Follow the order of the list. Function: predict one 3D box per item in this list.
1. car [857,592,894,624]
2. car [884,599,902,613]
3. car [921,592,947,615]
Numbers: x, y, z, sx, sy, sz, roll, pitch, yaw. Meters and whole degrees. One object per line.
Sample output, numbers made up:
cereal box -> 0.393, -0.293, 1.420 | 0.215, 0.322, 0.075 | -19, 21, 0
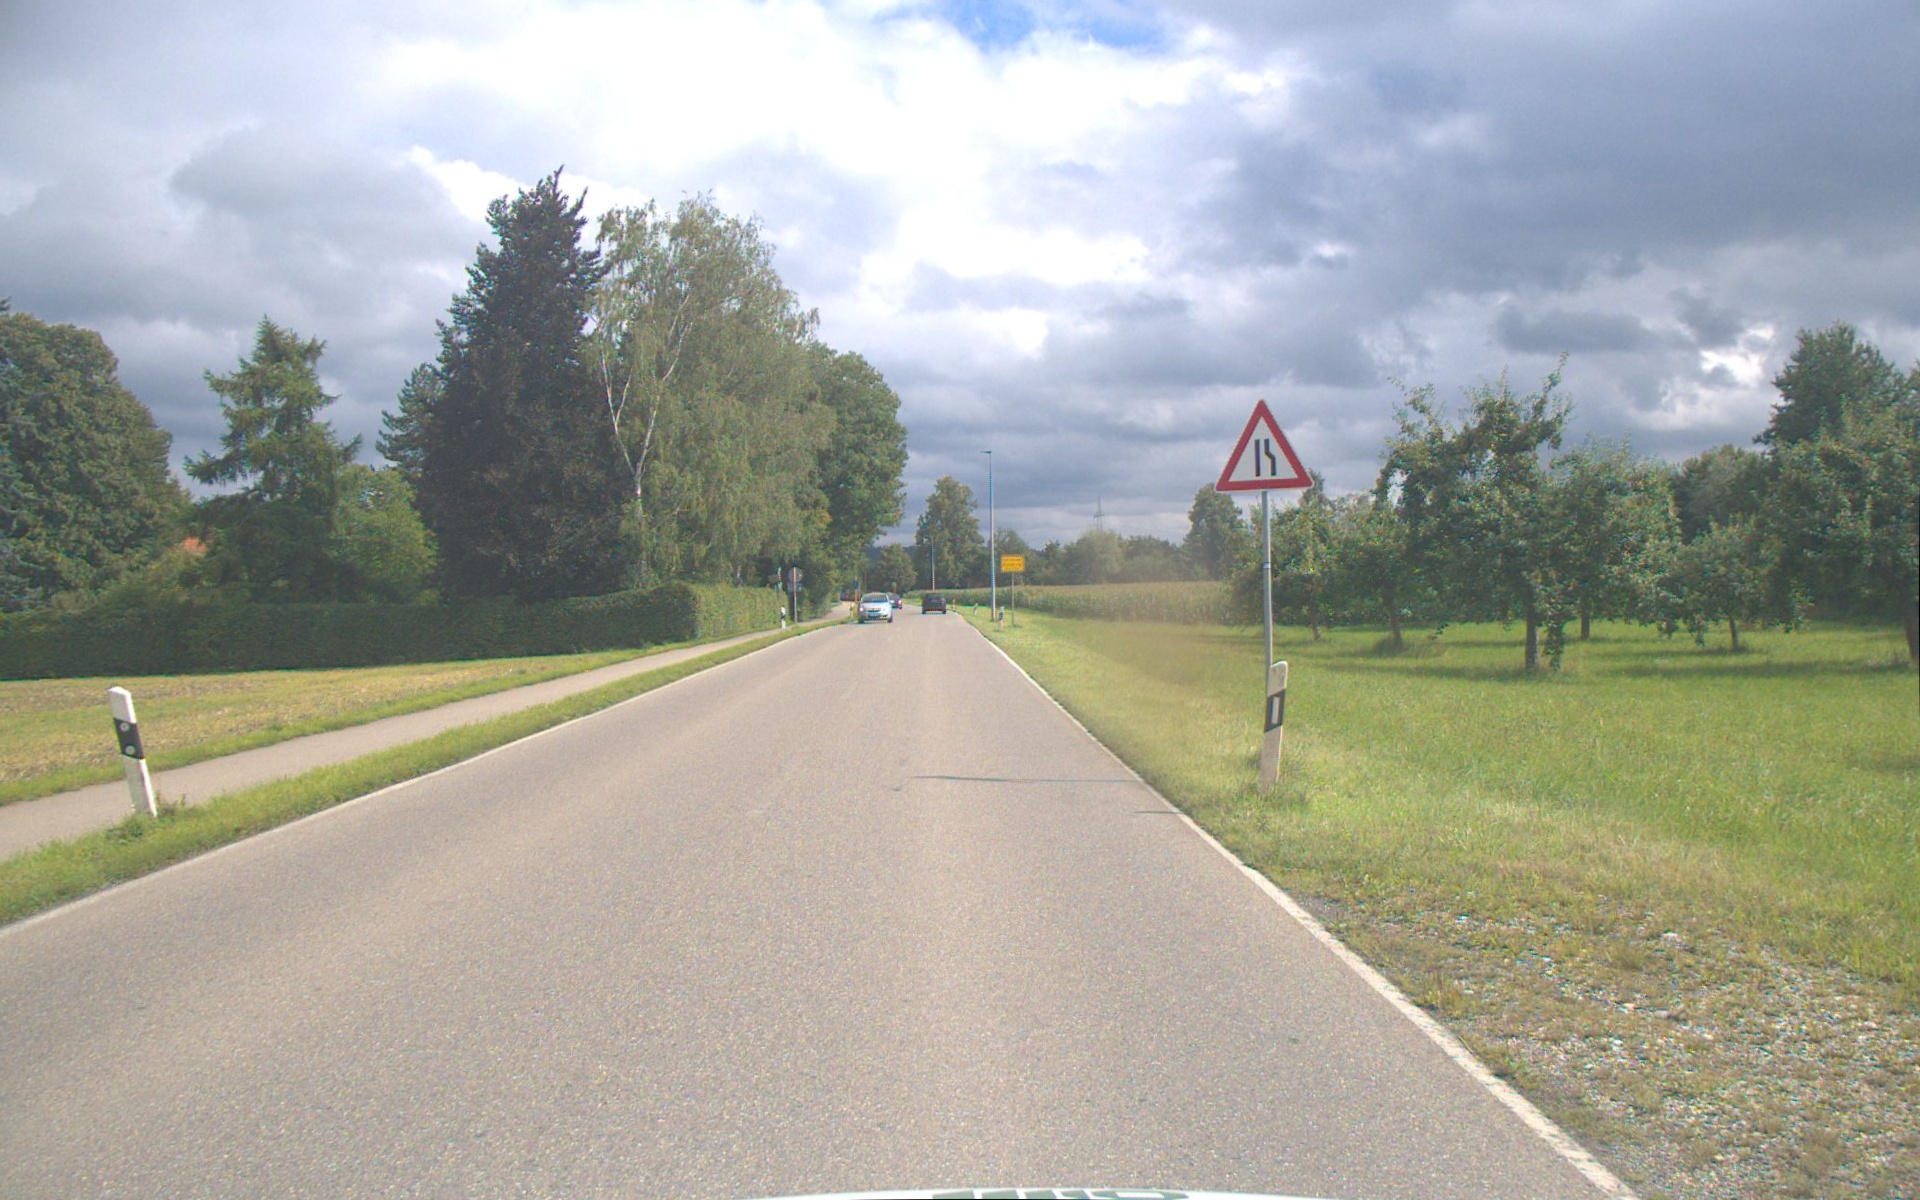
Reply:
car -> -4.204, 0.383, 82.342 | 1.660, 1.484, 3.542 | -1, 0, -1
car -> -6.689, 0.611, 165.403 | 1.710, 1.243, 3.542 | -2, 0, -1
car -> -2.007, 0.276, 127.277 | 1.868, 1.695, 3.998 | -2, 0, -3
